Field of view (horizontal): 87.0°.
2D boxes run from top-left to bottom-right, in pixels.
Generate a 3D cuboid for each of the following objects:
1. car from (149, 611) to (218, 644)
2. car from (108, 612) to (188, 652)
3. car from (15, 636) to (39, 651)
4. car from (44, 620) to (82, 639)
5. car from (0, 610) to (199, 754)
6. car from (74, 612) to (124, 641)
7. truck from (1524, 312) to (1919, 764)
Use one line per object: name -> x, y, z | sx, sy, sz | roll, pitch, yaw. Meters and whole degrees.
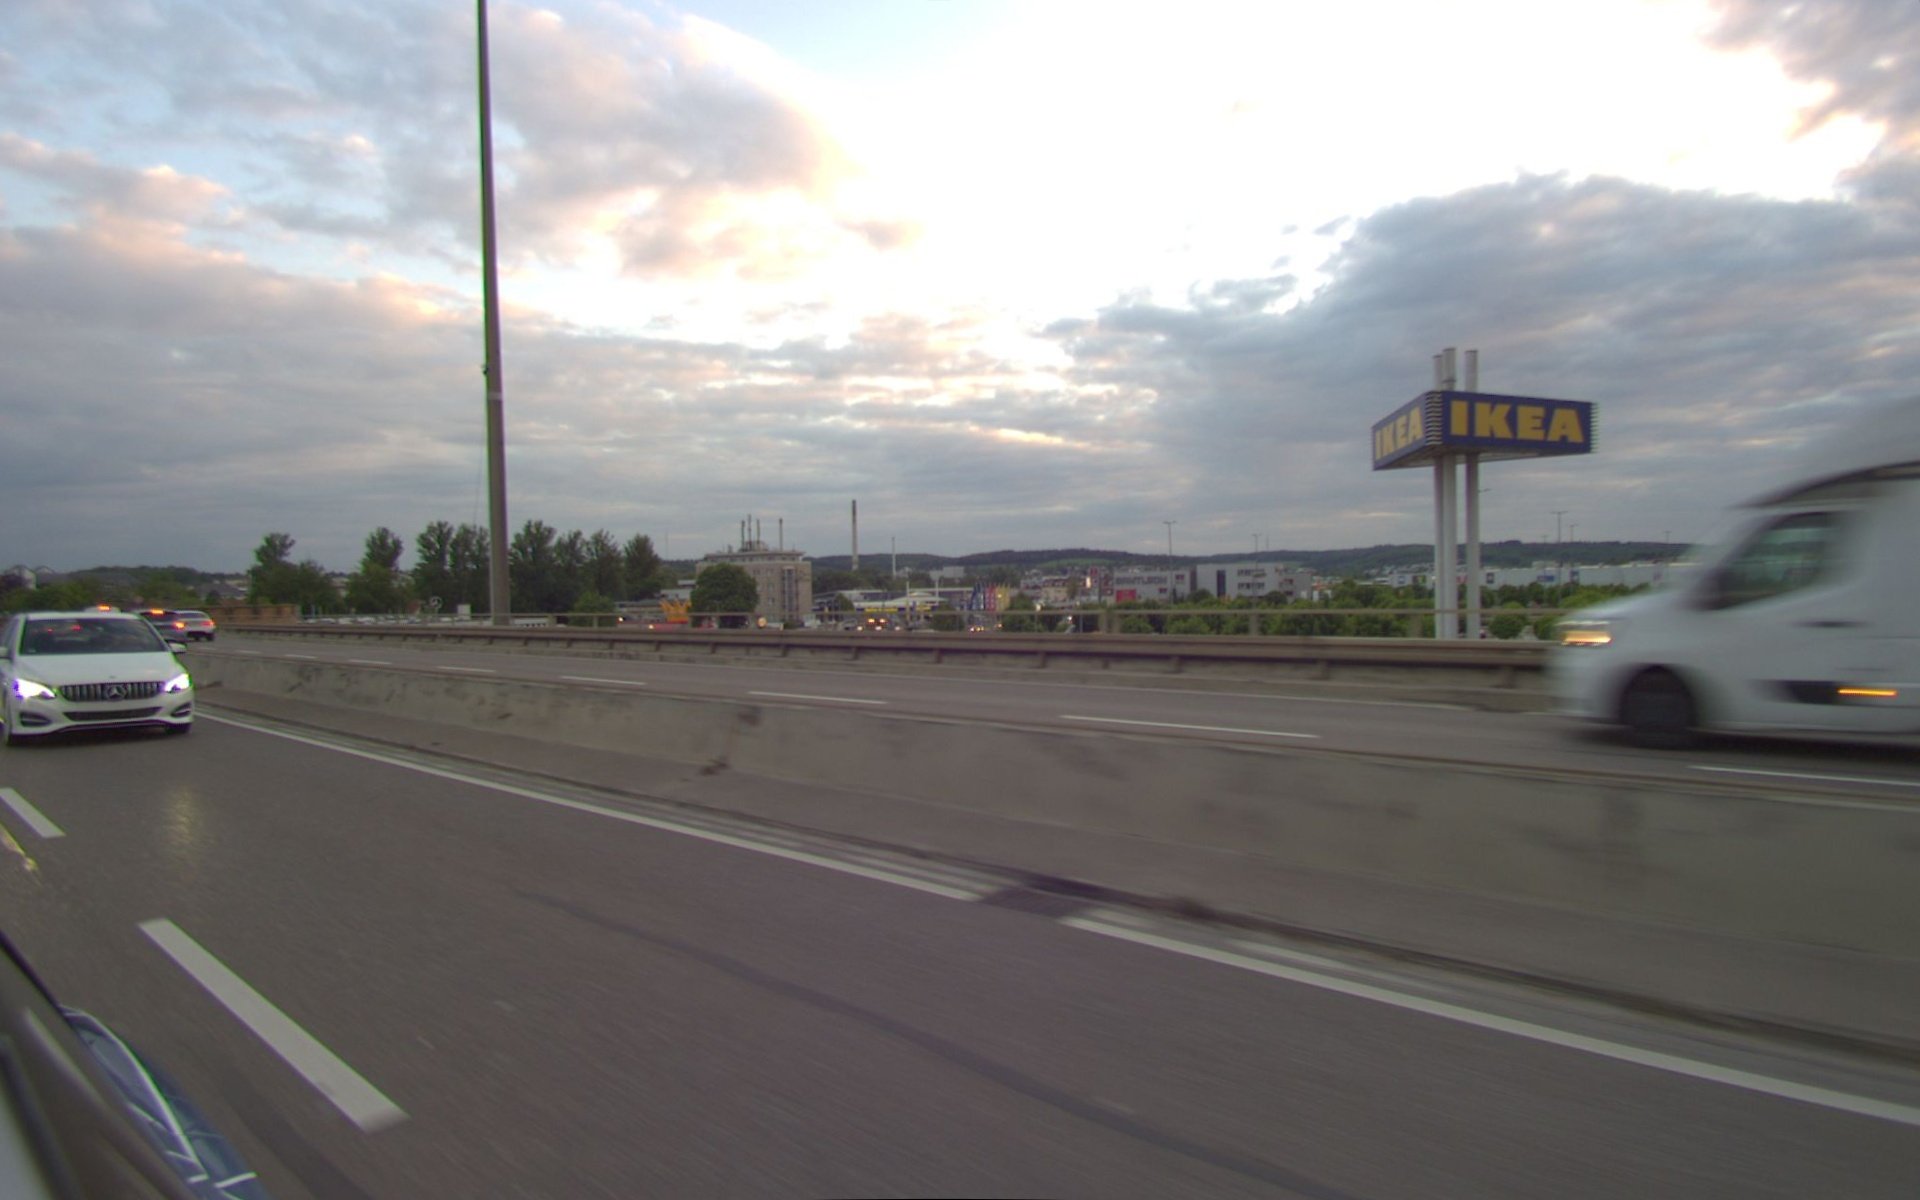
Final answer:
car -> -37.444, 1.326, 48.760 | 4.816, 1.514, 1.811 | -1, -1, 42
car -> -30.833, 1.218, 38.398 | 3.832, 1.452, 1.613 | -2, -1, 39
car -> -102.555, 4.772, 111.236 | 4.043, 1.606, 1.639 | -1, 0, 43
car -> -76.269, 2.527, 86.033 | 4.898, 1.485, 1.809 | -2, -1, 41
car -> -11.665, 0.979, 13.283 | 4.780, 1.549, 1.673 | -3, -1, 40
car -> -59.679, 1.829, 70.092 | 5.457, 1.915, 1.881 | -1, -1, 42
truck -> 8.722, -0.477, 7.615 | 7.444, 3.321, 2.508 | -1, 0, 42
